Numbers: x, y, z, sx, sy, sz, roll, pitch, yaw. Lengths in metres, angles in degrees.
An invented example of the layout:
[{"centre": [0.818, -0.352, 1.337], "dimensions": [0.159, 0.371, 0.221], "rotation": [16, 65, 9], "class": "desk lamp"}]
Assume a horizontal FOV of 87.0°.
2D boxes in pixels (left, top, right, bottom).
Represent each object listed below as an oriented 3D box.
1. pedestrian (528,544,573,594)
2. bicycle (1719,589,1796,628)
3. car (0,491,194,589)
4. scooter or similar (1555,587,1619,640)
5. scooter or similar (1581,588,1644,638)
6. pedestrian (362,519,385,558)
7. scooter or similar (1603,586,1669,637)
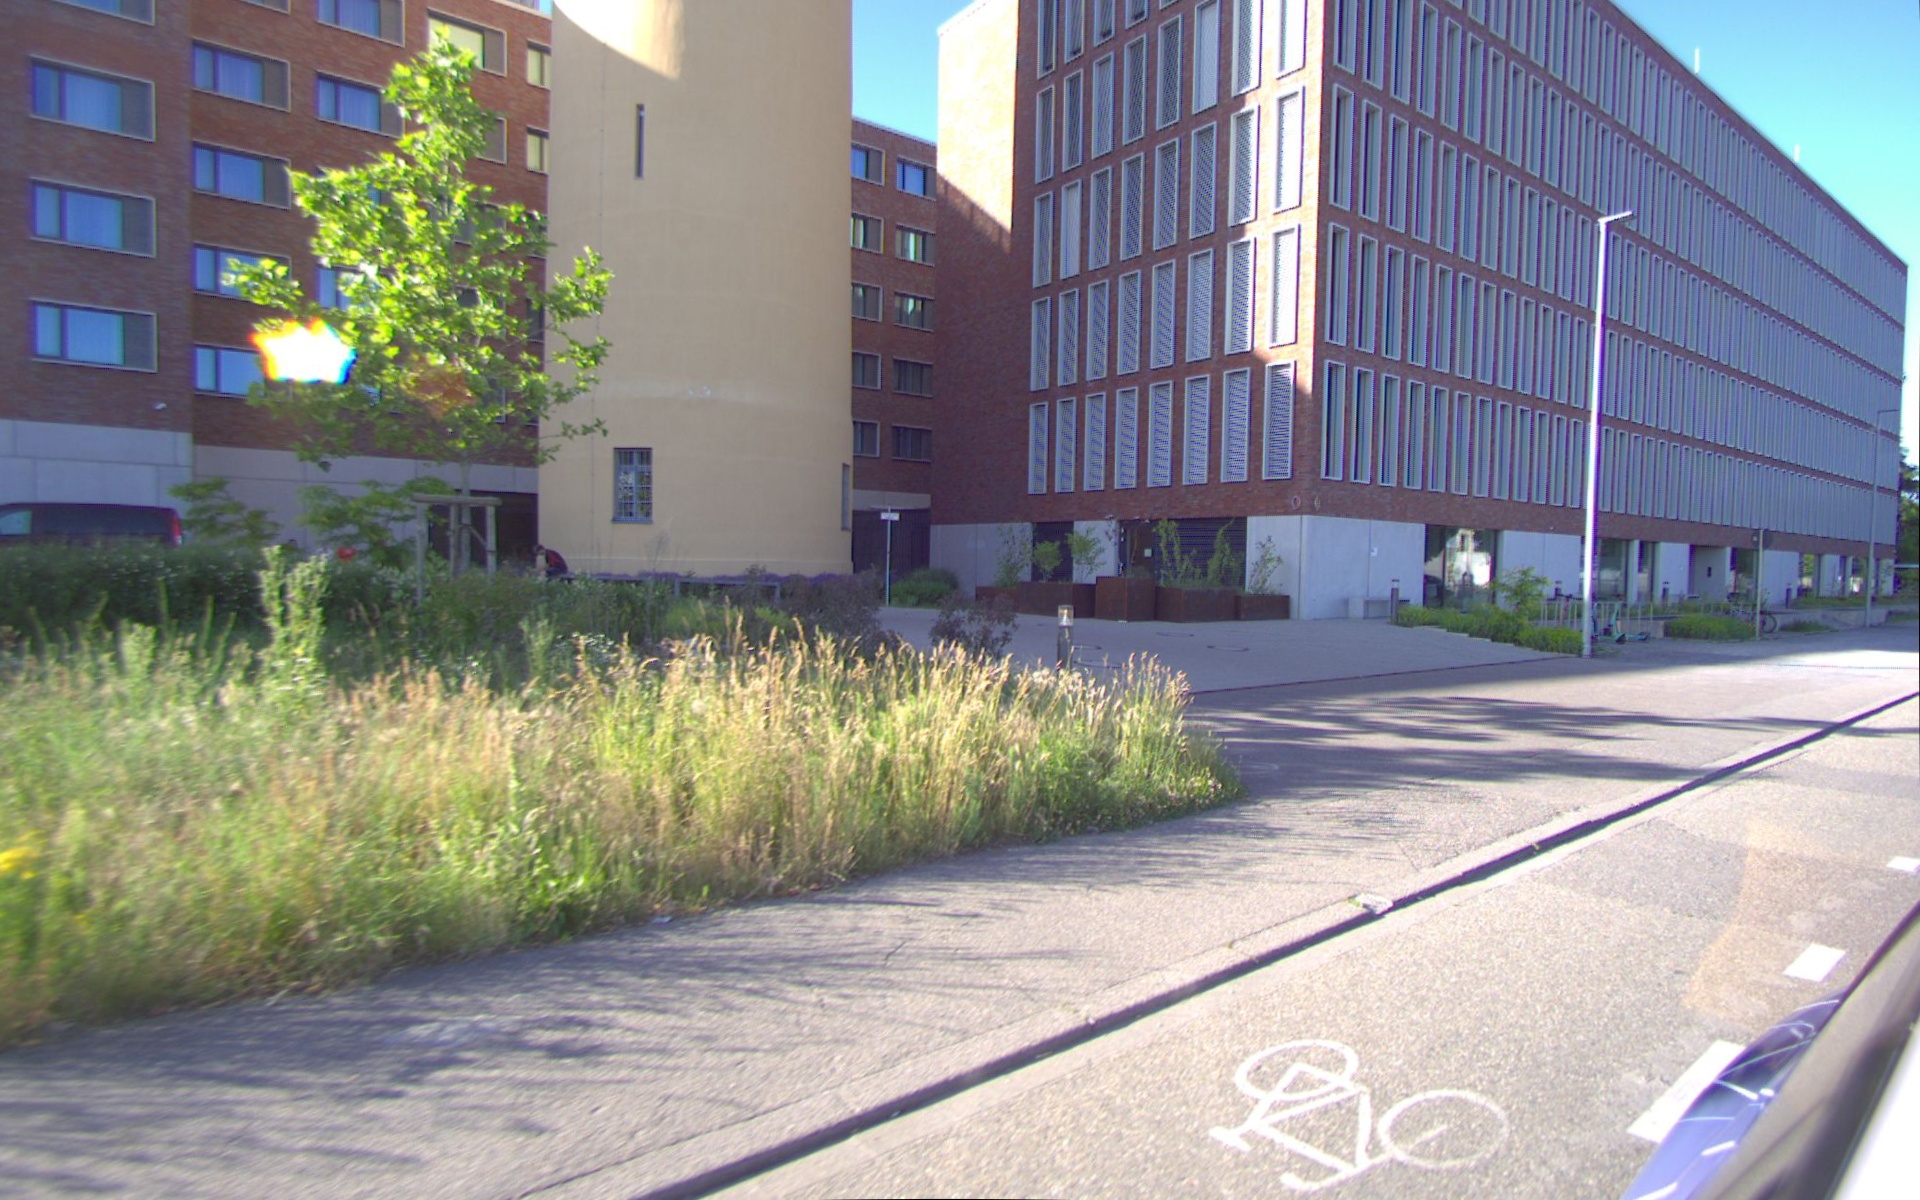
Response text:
[{"centre": [-9.719, -0.752, 24.024], "dimensions": [0.801, 1.150, 0.758], "rotation": [1, 3, -4], "class": "pedestrian"}, {"centre": [26.533, 0.266, 33.706], "dimensions": [0.369, 1.184, 1.933], "rotation": [-1, 4, -45], "class": "bicycle"}, {"centre": [-19.259, -1.239, 21.536], "dimensions": [4.706, 1.959, 1.977], "rotation": [0, 1, -38], "class": "car"}, {"centre": [15.218, 0.303, 24.574], "dimensions": [0.334, 1.209, 1.248], "rotation": [0, 2, -34], "class": "scooter or similar"}, {"centre": [16.363, 0.317, 25.404], "dimensions": [0.359, 1.170, 1.248], "rotation": [0, 2, -34], "class": "scooter or similar"}, {"centre": [-17.315, -1.814, 29.889], "dimensions": [0.525, 1.154, 0.342], "rotation": [-1, 2, -43], "class": "pedestrian"}, {"centre": [17.598, 0.282, 26.373], "dimensions": [0.415, 1.260, 1.345], "rotation": [0, 2, -34], "class": "scooter or similar"}]
